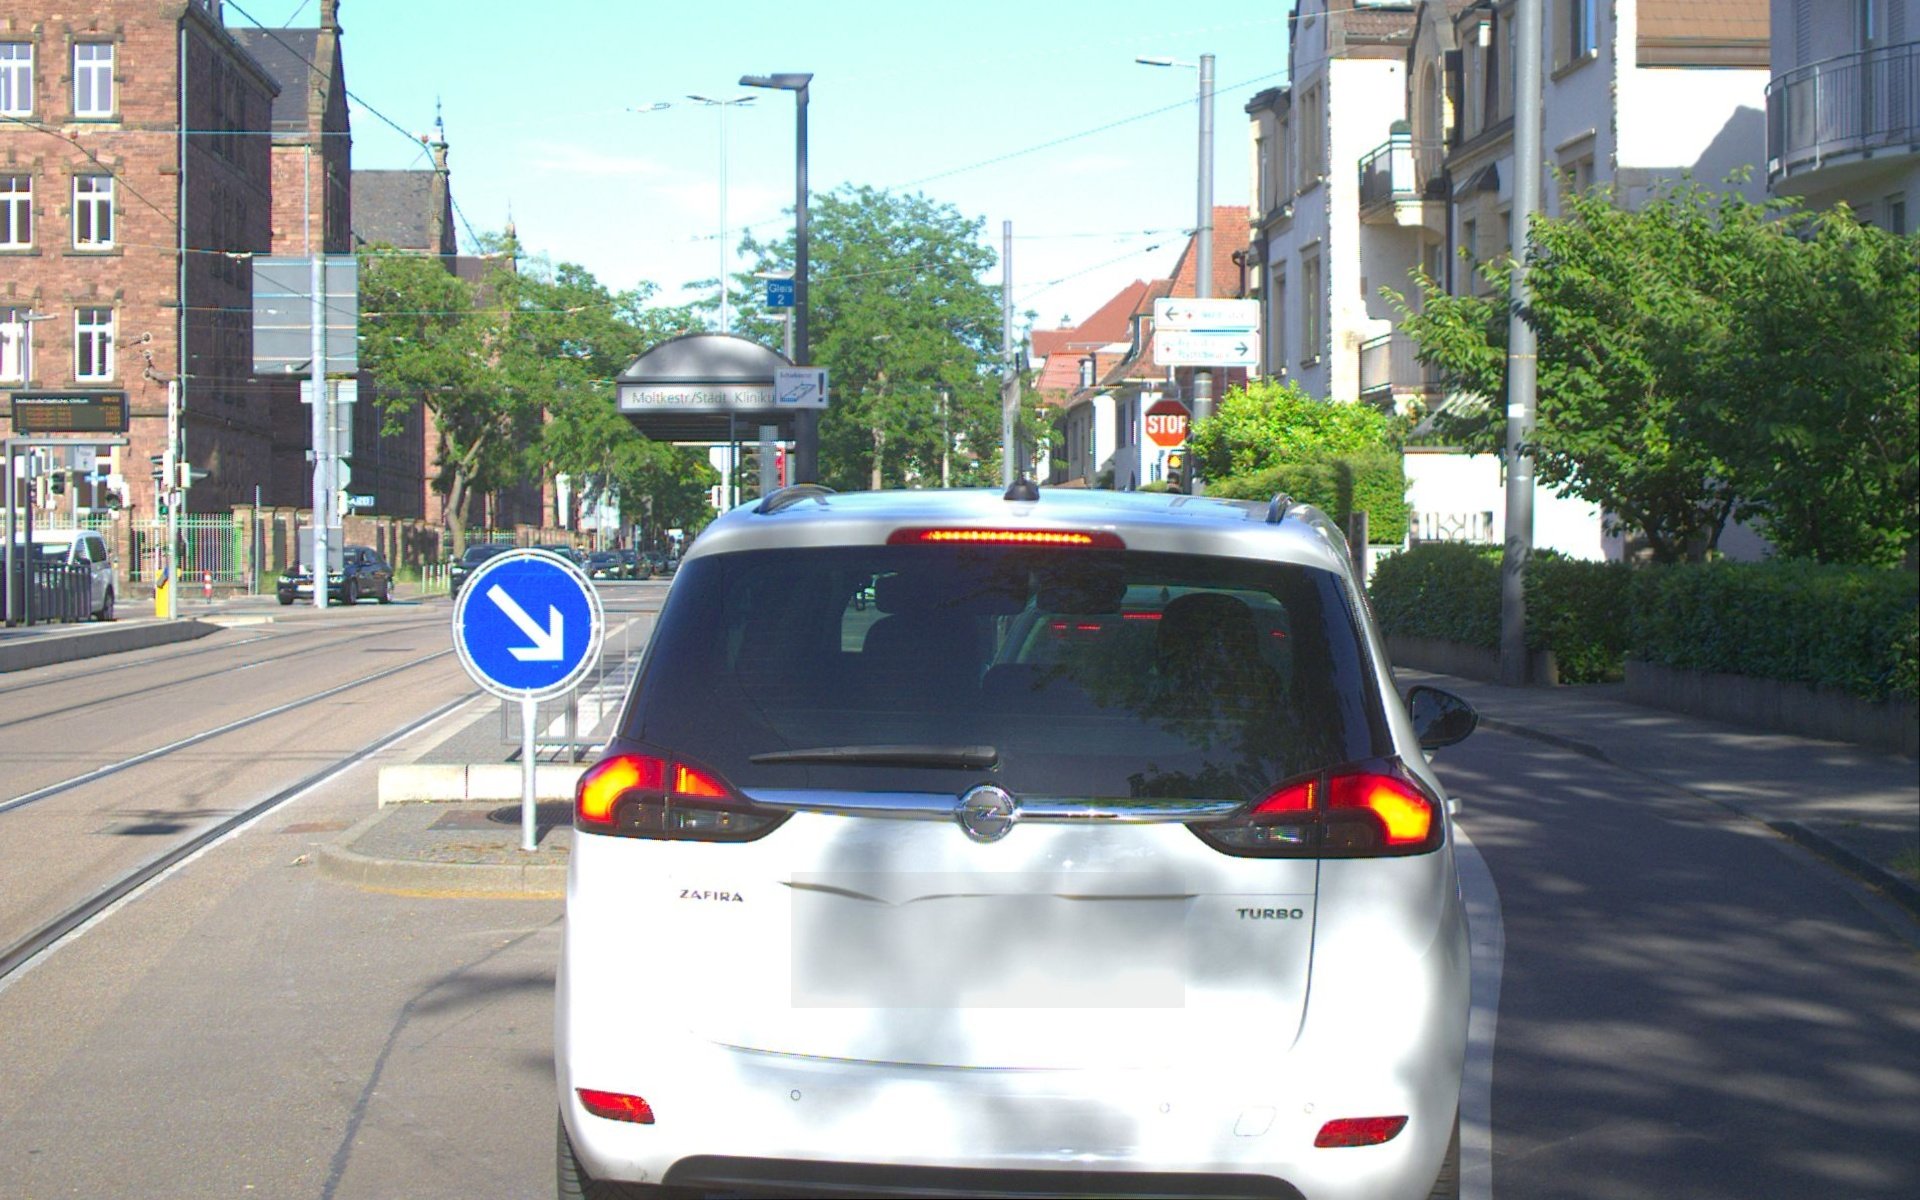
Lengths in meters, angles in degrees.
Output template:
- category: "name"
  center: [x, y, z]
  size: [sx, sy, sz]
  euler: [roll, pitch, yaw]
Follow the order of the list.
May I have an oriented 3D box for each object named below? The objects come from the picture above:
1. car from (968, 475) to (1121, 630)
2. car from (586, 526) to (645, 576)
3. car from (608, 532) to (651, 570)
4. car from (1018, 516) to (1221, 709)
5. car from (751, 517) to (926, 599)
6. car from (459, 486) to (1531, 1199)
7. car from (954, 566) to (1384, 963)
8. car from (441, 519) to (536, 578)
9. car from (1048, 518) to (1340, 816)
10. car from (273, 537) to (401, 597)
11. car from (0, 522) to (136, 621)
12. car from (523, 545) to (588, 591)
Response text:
- category: "car"
  center: [0.948, -0.597, 40.276]
  size: [1.596, 1.629, 3.902]
  euler: [2, 3, -1]
- category: "car"
  center: [-14.063, -1.997, 140.549]
  size: [1.993, 2.007, 4.000]
  euler: [0, 1, 1]
- category: "car"
  center: [-14.418, -2.147, 149.936]
  size: [1.662, 1.645, 4.001]
  euler: [0, 1, -3]
- category: "car"
  center: [1.425, 0.072, 31.947]
  size: [1.596, 1.629, 3.901]
  euler: [2, 1, -1]
- category: "car"
  center: [-3.073, -1.076, 86.659]
  size: [3.995, 2.007, 1.996]
  euler: [1, 1, 35]
- category: "car"
  center: [0.217, 0.569, 8.089]
  size: [1.878, 1.579, 3.999]
  euler: [1, 1, 5]
- category: "car"
  center: [0.944, 0.595, 14.783]
  size: [1.569, 1.396, 3.783]
  euler: [2, 1, 5]
- category: "car"
  center: [-13.367, -1.450, 97.714]
  size: [1.827, 1.611, 4.327]
  euler: [1, 0, 4]
- category: "car"
  center: [1.463, 0.336, 21.032]
  size: [1.569, 1.609, 3.783]
  euler: [2, 1, 5]
- category: "car"
  center: [-15.051, -0.812, 83.264]
  size: [1.798, 1.377, 4.494]
  euler: [0, 1, 7]
- category: "car"
  center: [-16.982, -0.559, 64.538]
  size: [1.827, 1.782, 4.255]
  euler: [0, 1, 3]
- category: "car"
  center: [-13.002, -1.014, 110.665]
  size: [1.826, 1.441, 4.328]
  euler: [0, 0, -4]
